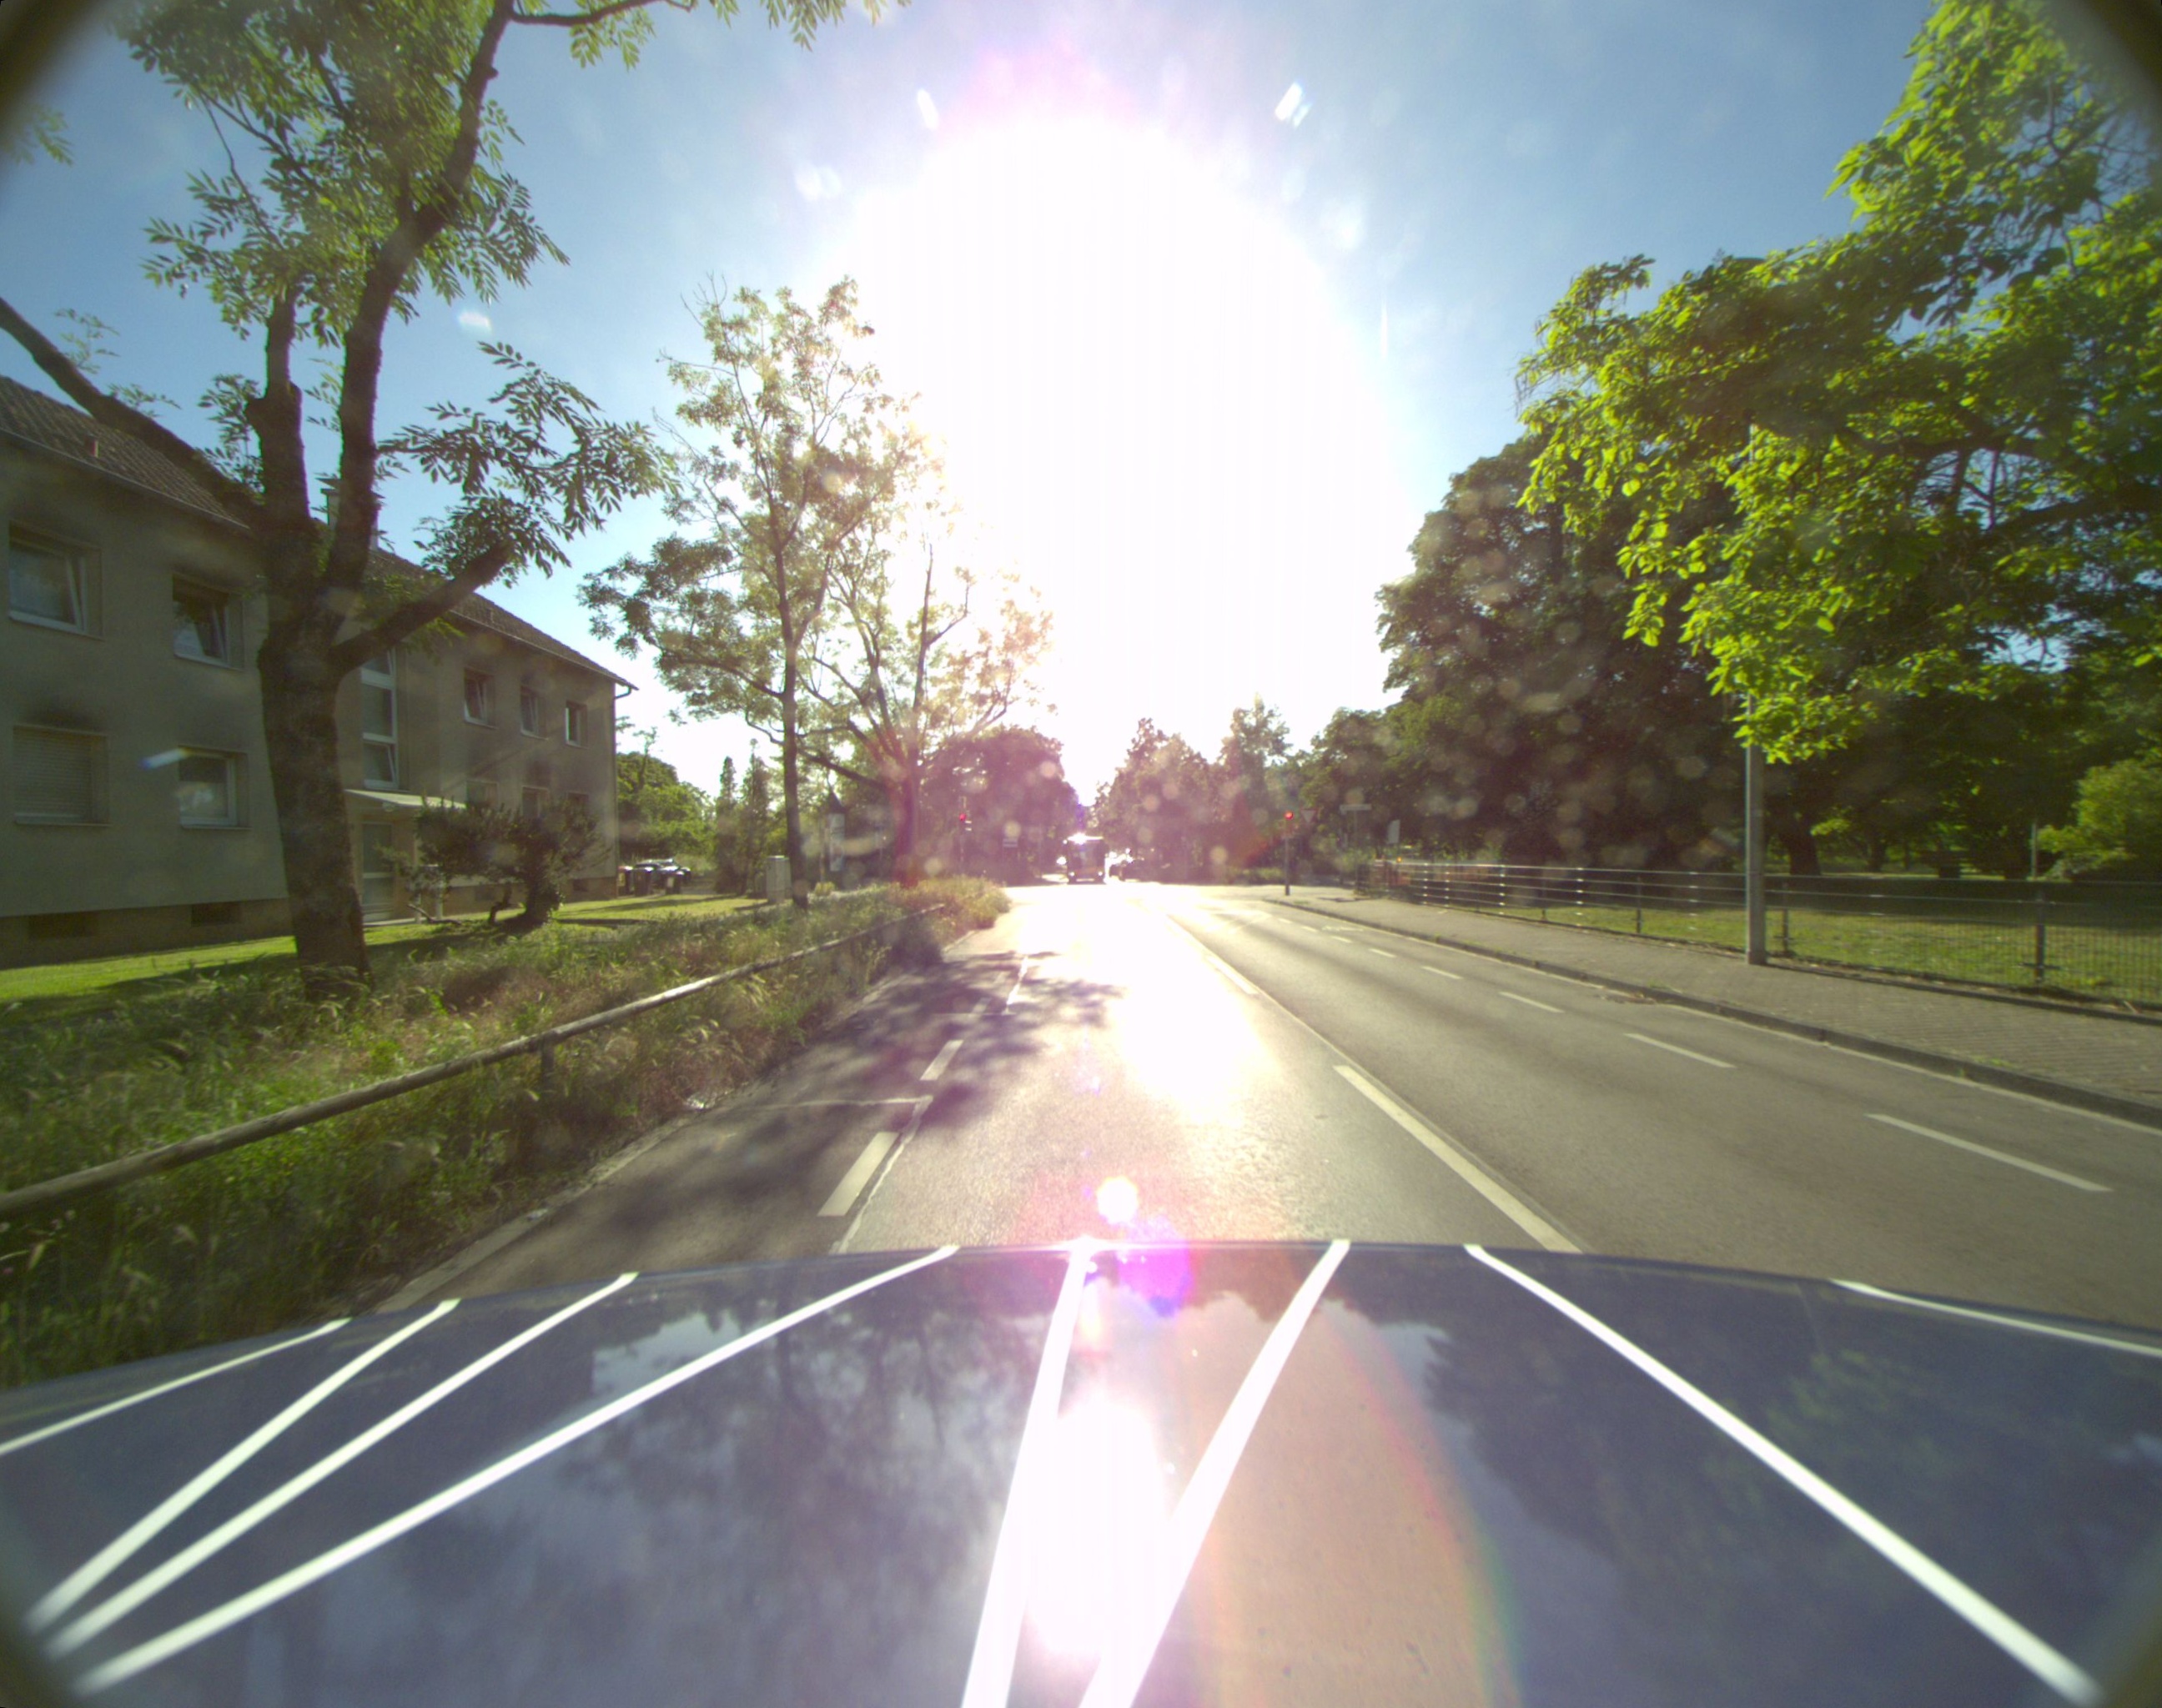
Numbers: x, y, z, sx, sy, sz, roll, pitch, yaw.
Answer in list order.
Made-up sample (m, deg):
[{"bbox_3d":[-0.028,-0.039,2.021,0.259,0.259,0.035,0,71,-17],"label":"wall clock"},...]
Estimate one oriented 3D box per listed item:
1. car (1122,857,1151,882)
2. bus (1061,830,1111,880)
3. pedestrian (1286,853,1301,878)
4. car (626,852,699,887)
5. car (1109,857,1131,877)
[{"bbox_3d":[3.801,1.042,52.954,1.819,1.608,4.392,0,0,1],"label":"car"},{"bbox_3d":[0.453,0.135,54.779,3.128,3.080,12.481,-2,0,1],"label":"bus"},{"bbox_3d":[14.165,0.741,50.730,0.800,1.624,0.647,-2,0,1],"label":"pedestrian"},{"bbox_3d":[-24.360,0.856,44.444,1.868,1.642,4.444,-2,3,-3],"label":"car"},{"bbox_3d":[3.583,1.200,70.133,1.810,1.447,3.847,1,4,0],"label":"car"}]
